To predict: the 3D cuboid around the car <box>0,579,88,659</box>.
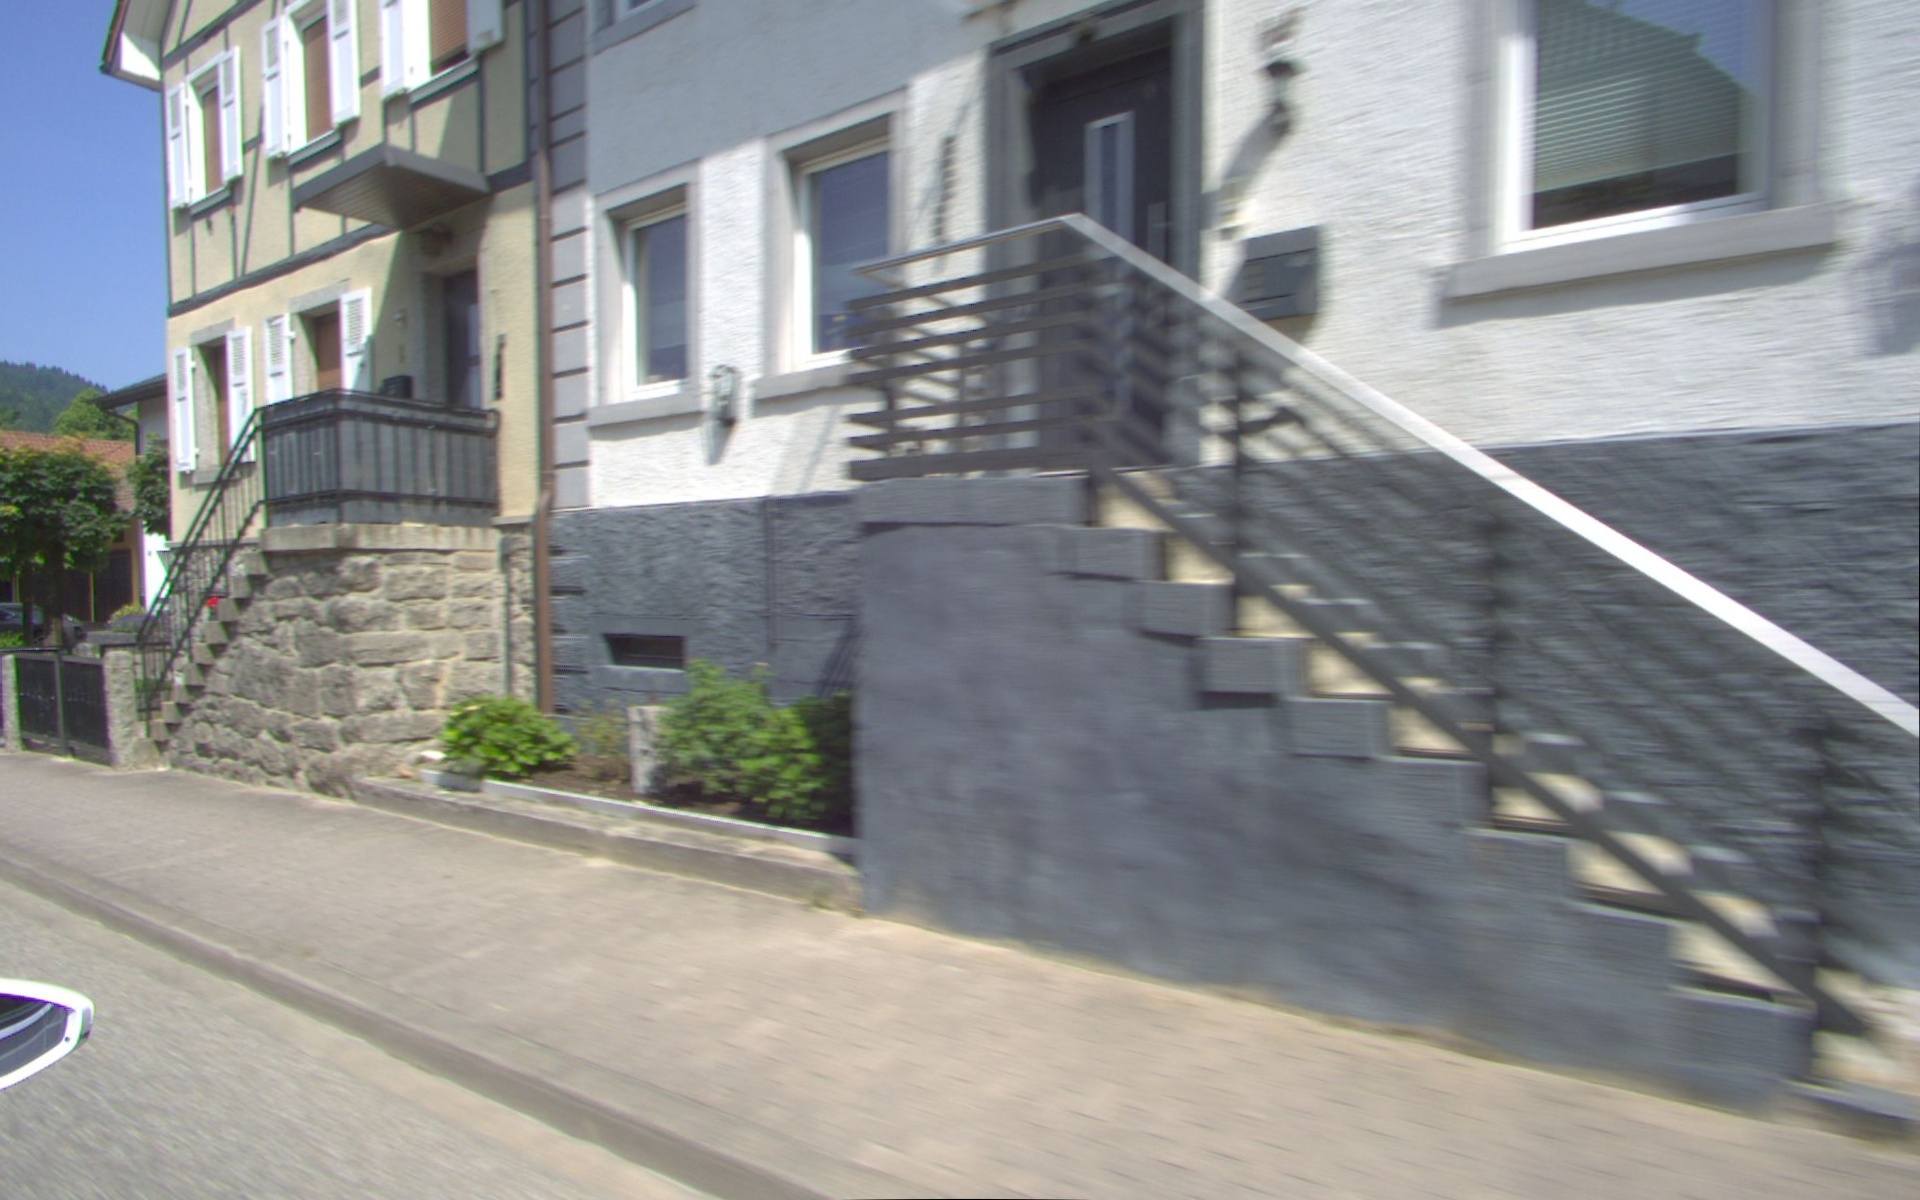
[{"bbox_3d":[-22.992,0.562,22.895,1.754,1.711,4.202,-1,5,36],"label":"car"}]
